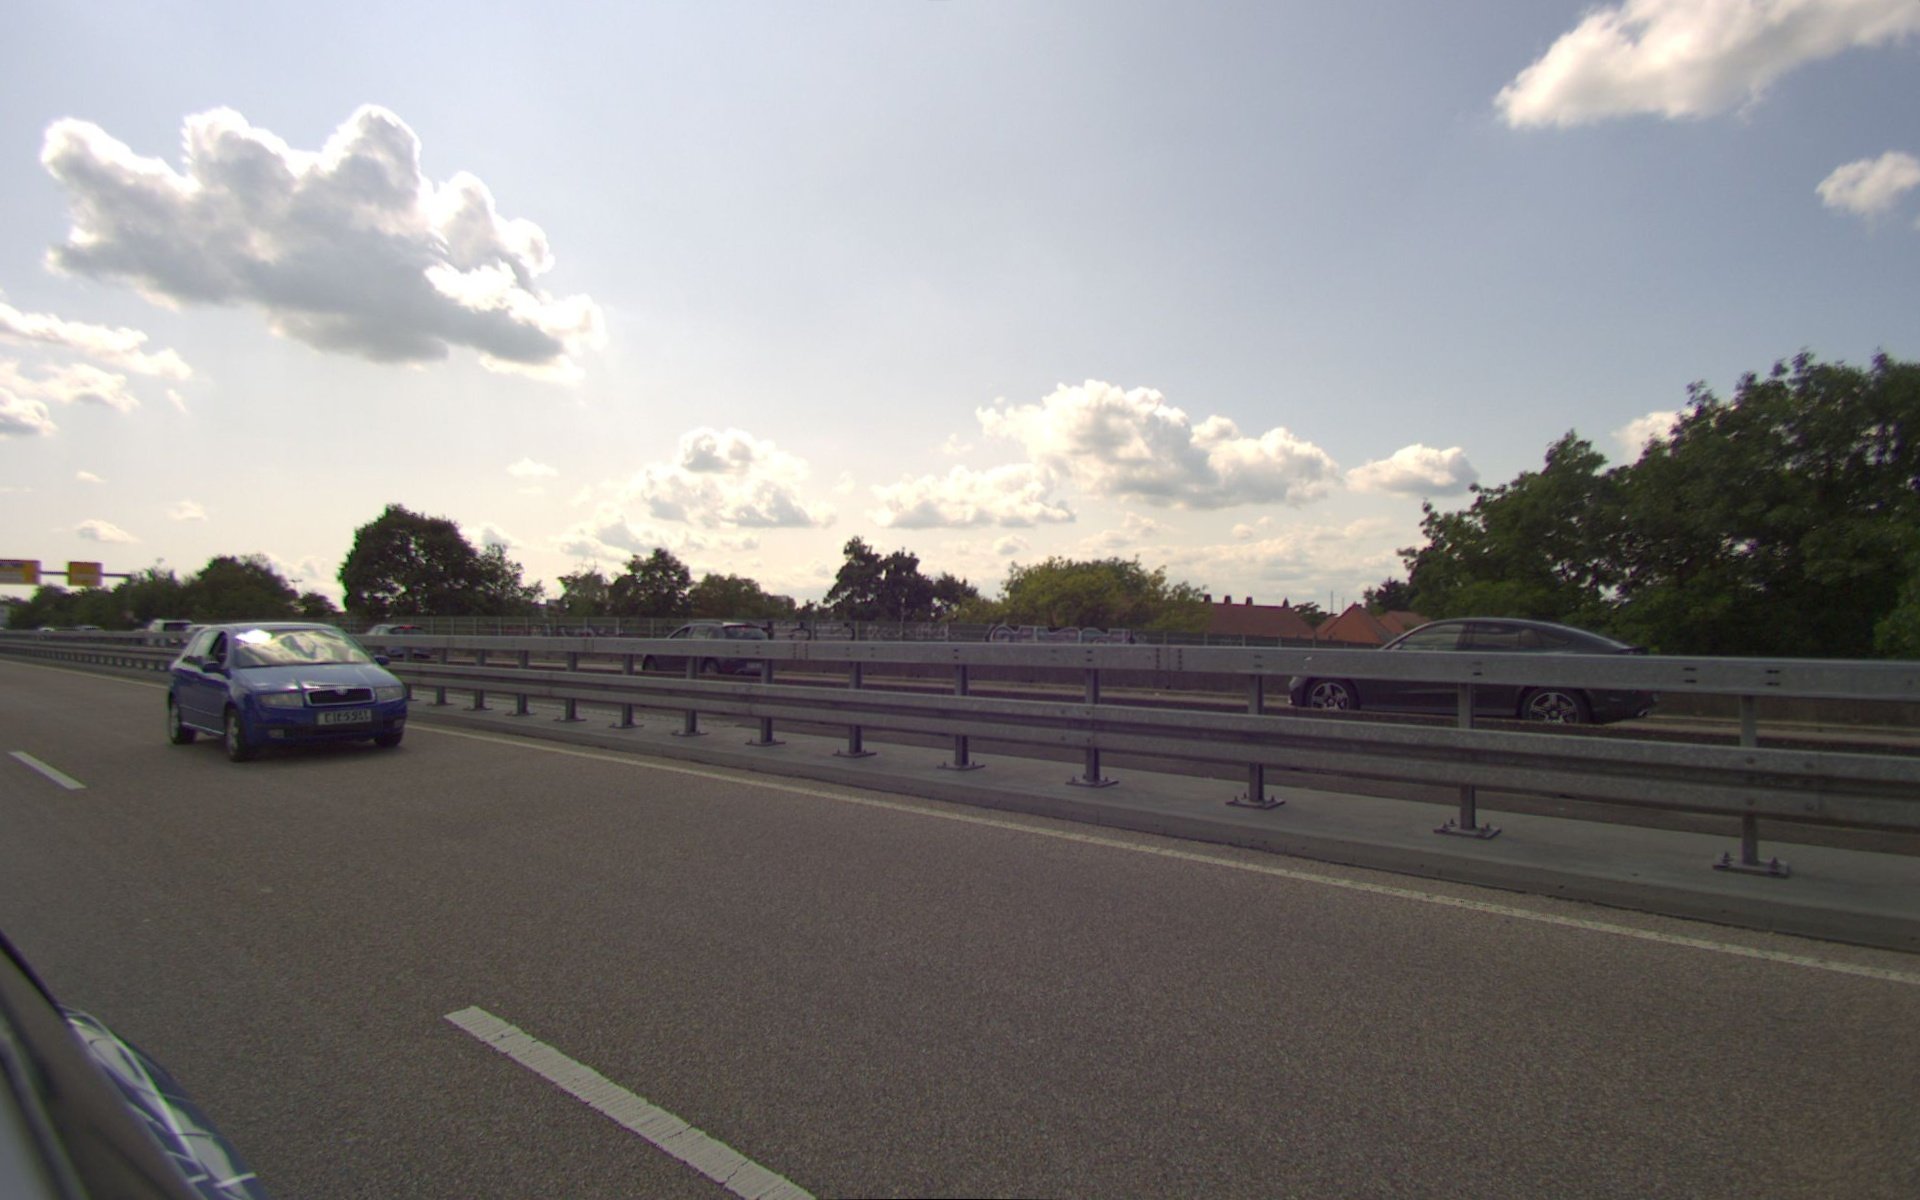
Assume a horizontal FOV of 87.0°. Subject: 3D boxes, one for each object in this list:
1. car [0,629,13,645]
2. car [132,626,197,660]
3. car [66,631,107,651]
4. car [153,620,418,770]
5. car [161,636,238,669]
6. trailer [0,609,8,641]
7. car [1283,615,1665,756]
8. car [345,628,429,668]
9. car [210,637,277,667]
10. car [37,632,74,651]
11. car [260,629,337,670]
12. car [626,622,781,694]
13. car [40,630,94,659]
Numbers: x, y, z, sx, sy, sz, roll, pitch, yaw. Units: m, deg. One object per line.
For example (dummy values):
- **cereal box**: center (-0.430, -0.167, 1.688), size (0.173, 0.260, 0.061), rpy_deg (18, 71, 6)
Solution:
- **car**: center (-98.560, 3.761, 103.667), size (4.278, 1.632, 1.697), rpy_deg (-1, -3, 40)
- **car**: center (-48.484, 2.610, 61.638), size (5.184, 1.940, 1.941), rpy_deg (-3, -1, 38)
- **car**: center (-73.873, 3.439, 85.538), size (4.278, 1.586, 1.905), rpy_deg (-2, -2, 39)
- **car**: center (-7.843, 0.963, 11.644), size (3.769, 1.422, 1.604), rpy_deg (-1, -1, 41)
- **car**: center (-30.792, 2.103, 40.956), size (3.997, 1.194, 1.664), rpy_deg (-1, -1, 40)
- **trailer**: center (-117.306, 3.020, 121.952), size (11.023, 3.697, 2.656), rpy_deg (-1, -1, 41)
- **car**: center (7.119, 1.076, 14.265), size (4.507, 1.652, 1.872), rpy_deg (-1, -1, 39)
- **car**: center (-22.295, 1.855, 39.355), size (3.627, 1.486, 1.582), rpy_deg (-1, -4, 39)
- **car**: center (-36.817, 2.675, 51.942), size (4.042, 1.400, 1.767), rpy_deg (-3, -1, 39)
- **car**: center (-80.126, 3.649, 89.627), size (3.883, 1.586, 1.905), rpy_deg (-1, -1, 39)
- **car**: center (-29.669, 2.223, 45.339), size (4.405, 1.724, 1.566), rpy_deg (-3, -2, 39)
- **car**: center (-6.529, 1.395, 25.551), size (3.997, 1.651, 1.803), rpy_deg (-1, -1, 40)
- **car**: center (-51.846, 2.559, 58.748), size (4.056, 1.583, 1.659), rpy_deg (-1, -1, 39)
